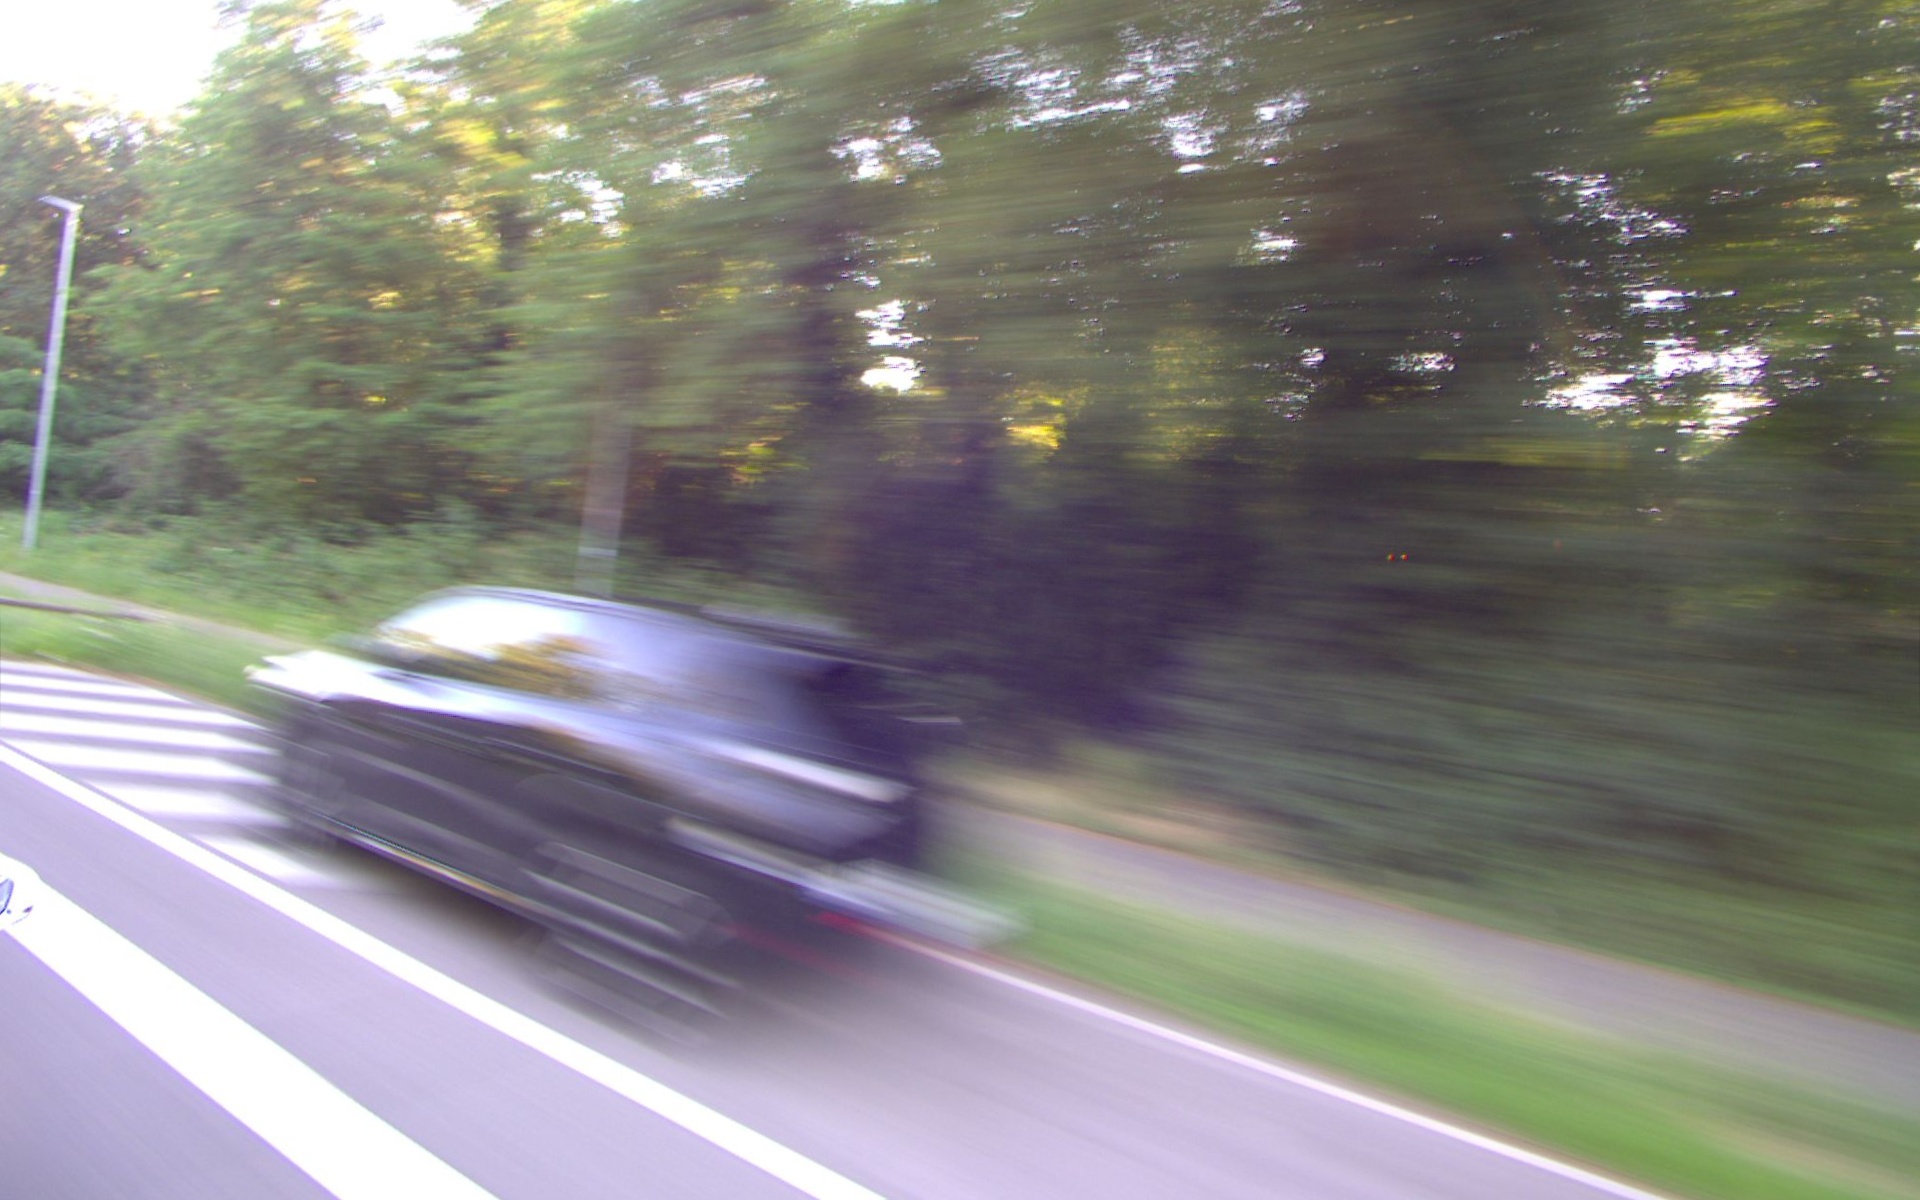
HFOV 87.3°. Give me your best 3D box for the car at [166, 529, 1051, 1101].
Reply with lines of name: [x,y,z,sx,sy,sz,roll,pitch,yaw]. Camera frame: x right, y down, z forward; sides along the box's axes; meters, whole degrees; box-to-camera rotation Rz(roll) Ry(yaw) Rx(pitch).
car: [-1.831,0.647,4.813,4.054,1.461,1.713,7,-1,32]
